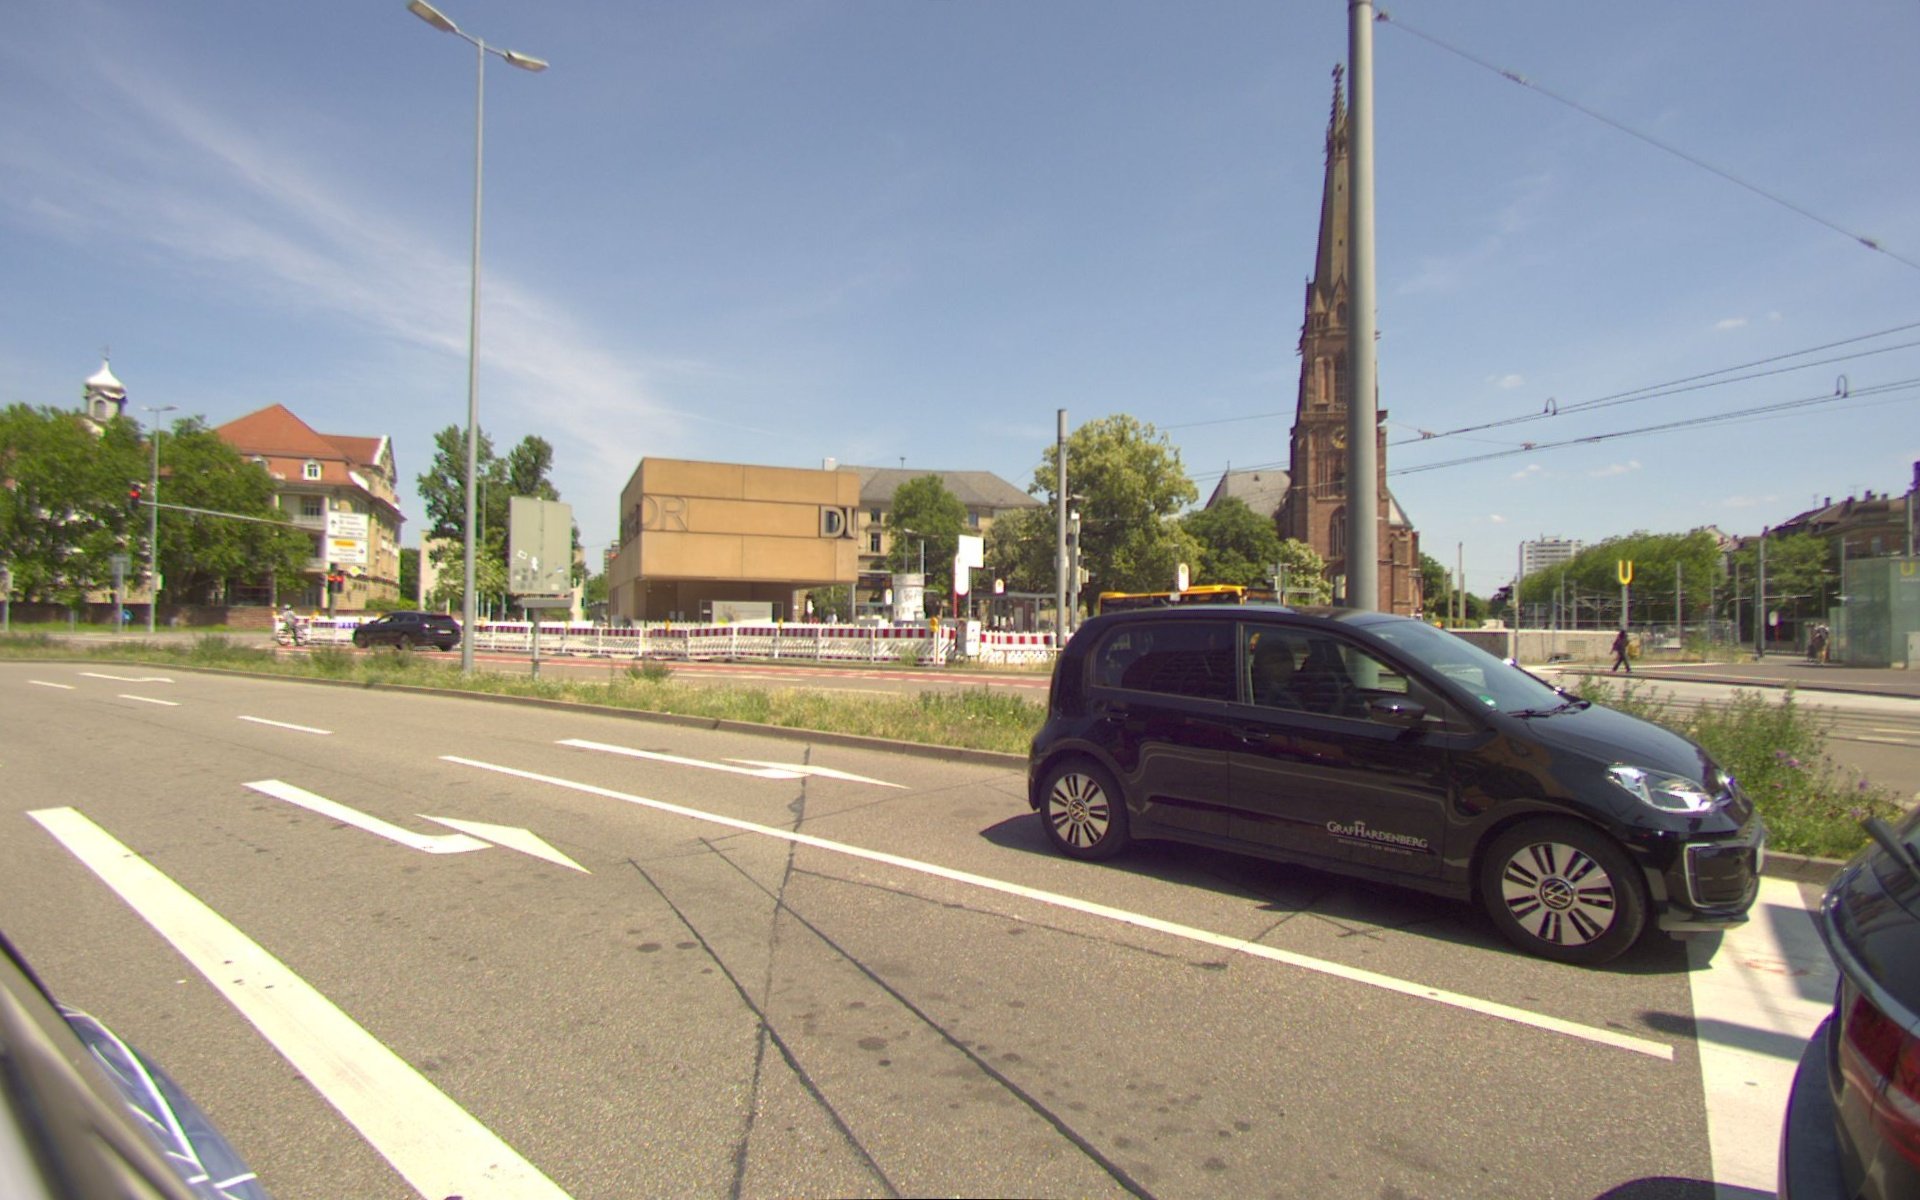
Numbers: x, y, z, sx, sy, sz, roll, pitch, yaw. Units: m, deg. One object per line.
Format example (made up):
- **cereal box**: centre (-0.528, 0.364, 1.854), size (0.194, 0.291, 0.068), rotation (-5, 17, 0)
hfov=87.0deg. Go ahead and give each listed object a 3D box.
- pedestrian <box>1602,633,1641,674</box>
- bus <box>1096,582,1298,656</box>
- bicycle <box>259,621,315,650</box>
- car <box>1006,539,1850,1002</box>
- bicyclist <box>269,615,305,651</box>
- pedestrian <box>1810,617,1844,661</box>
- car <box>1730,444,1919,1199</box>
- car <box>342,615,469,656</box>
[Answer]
- **pedestrian**: centre (22.535, 1.807, 34.471), size (0.518, 1.344, 1.001), rotation (1, -2, -17)
- **bus**: centre (10.663, 0.921, 47.821), size (2.807, 3.039, 12.260), rotation (1, -2, -22)
- **bicycle**: centre (-26.992, 1.419, 40.579), size (2.220, 1.080, 0.871), rotation (0, 0, 26)
- **car**: centre (2.222, 0.626, 5.401), size (3.738, 1.588, 1.724), rotation (-1, -2, 43)
- **bicyclist**: centre (-26.940, 1.311, 40.515), size (1.432, 1.366, 0.582), rotation (0, 0, 26)
- **pedestrian**: centre (36.805, 1.658, 42.993), size (0.674, 1.827, 1.125), rotation (0, -2, 18)
- **car**: centre (3.214, 0.641, 0.124), size (4.805, 1.653, 1.778), rotation (-1, -1, 43)
- **car**: centre (-21.300, 1.335, 38.831), size (4.824, 1.476, 1.981), rotation (0, -2, 29)
